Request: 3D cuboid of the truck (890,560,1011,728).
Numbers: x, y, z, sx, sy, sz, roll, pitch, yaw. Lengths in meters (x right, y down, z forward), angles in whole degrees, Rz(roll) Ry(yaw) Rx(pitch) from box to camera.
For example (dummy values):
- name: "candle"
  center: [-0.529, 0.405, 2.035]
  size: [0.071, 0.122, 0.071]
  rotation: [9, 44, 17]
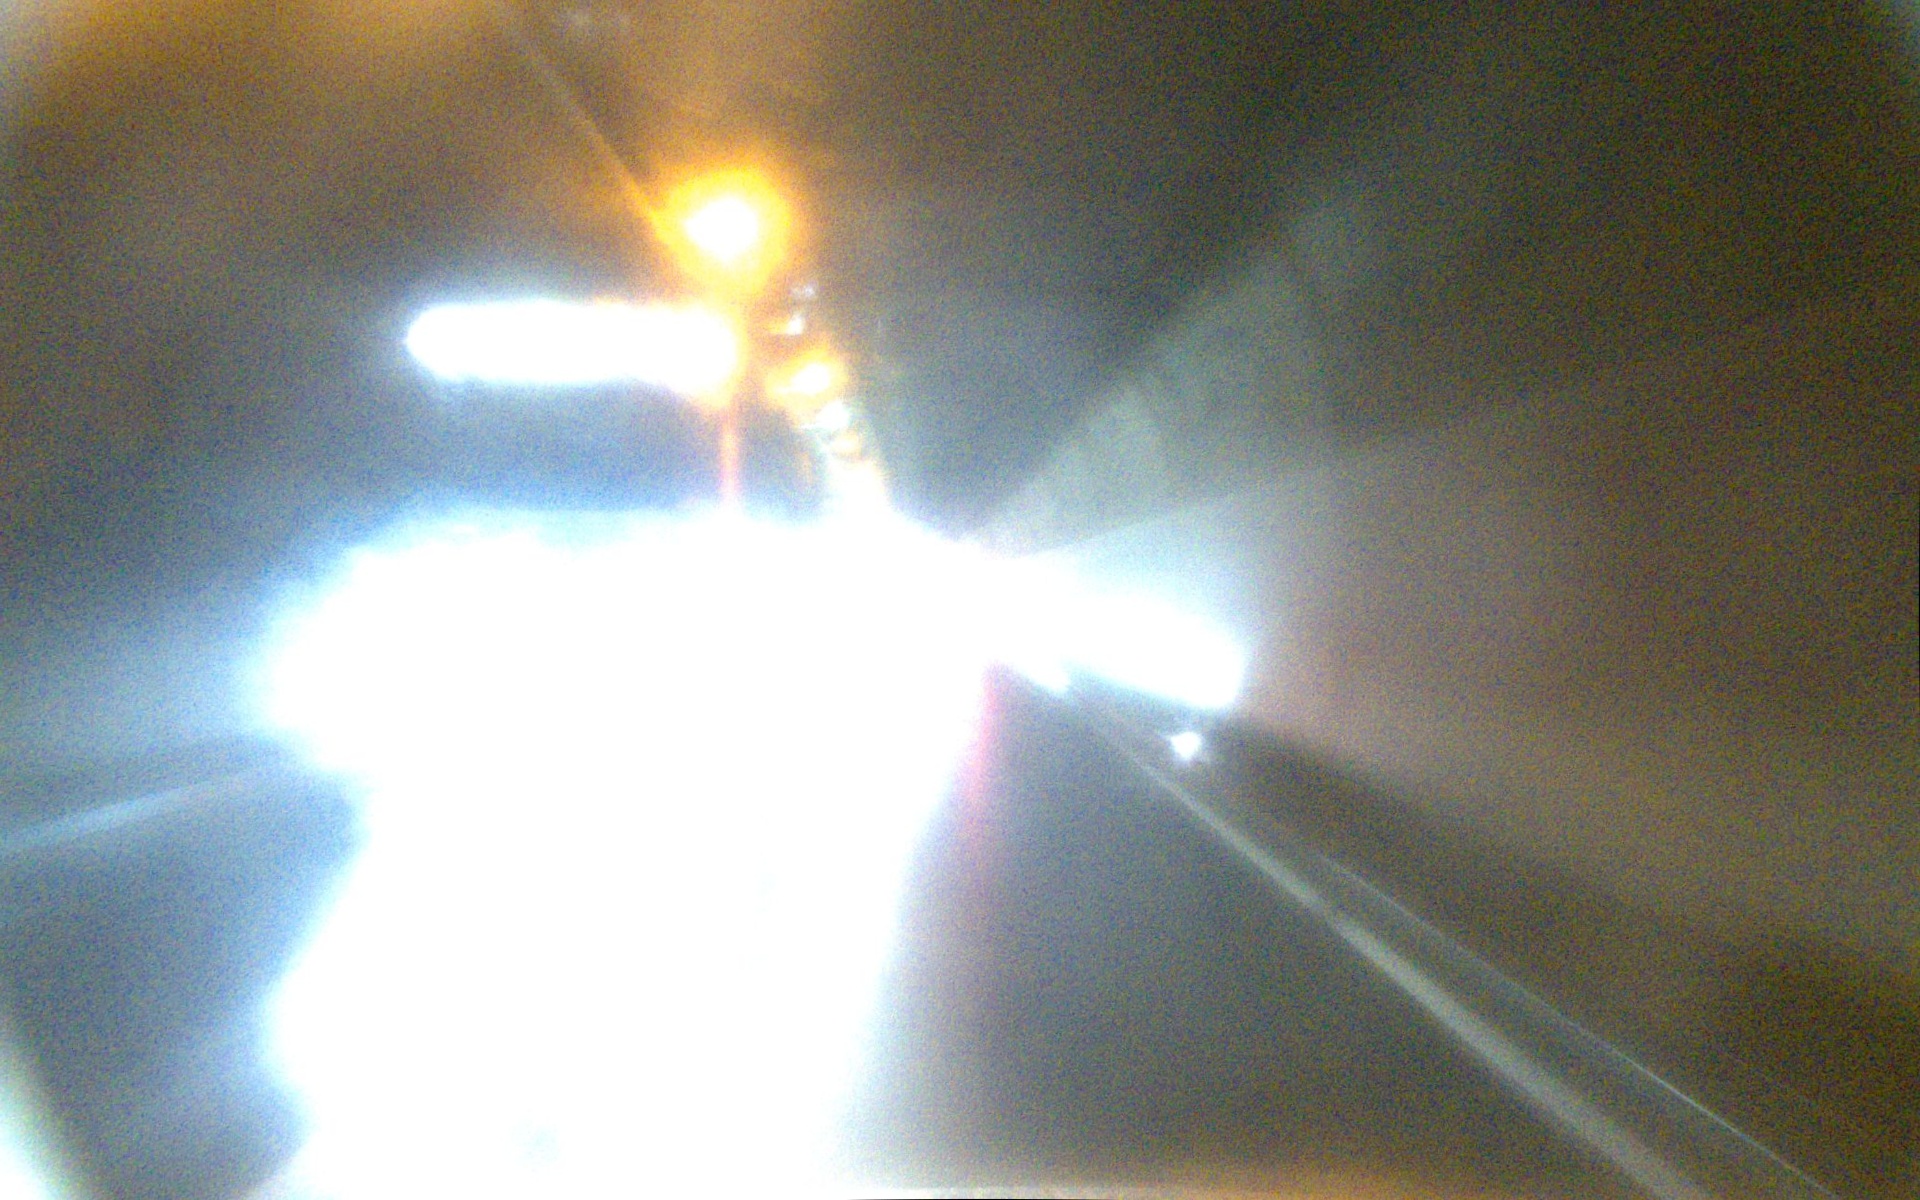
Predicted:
- name: "truck"
  center: [-0.227, 0.792, 34.077]
  size: [2.216, 3.063, 7.414]
  rotation: [0, 0, -1]

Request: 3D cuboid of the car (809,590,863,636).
- name: "car"
  center: [-4.332, 0.416, 58.199]
  size: [1.626, 1.516, 3.962]
  rotation: [-1, 0, -1]
